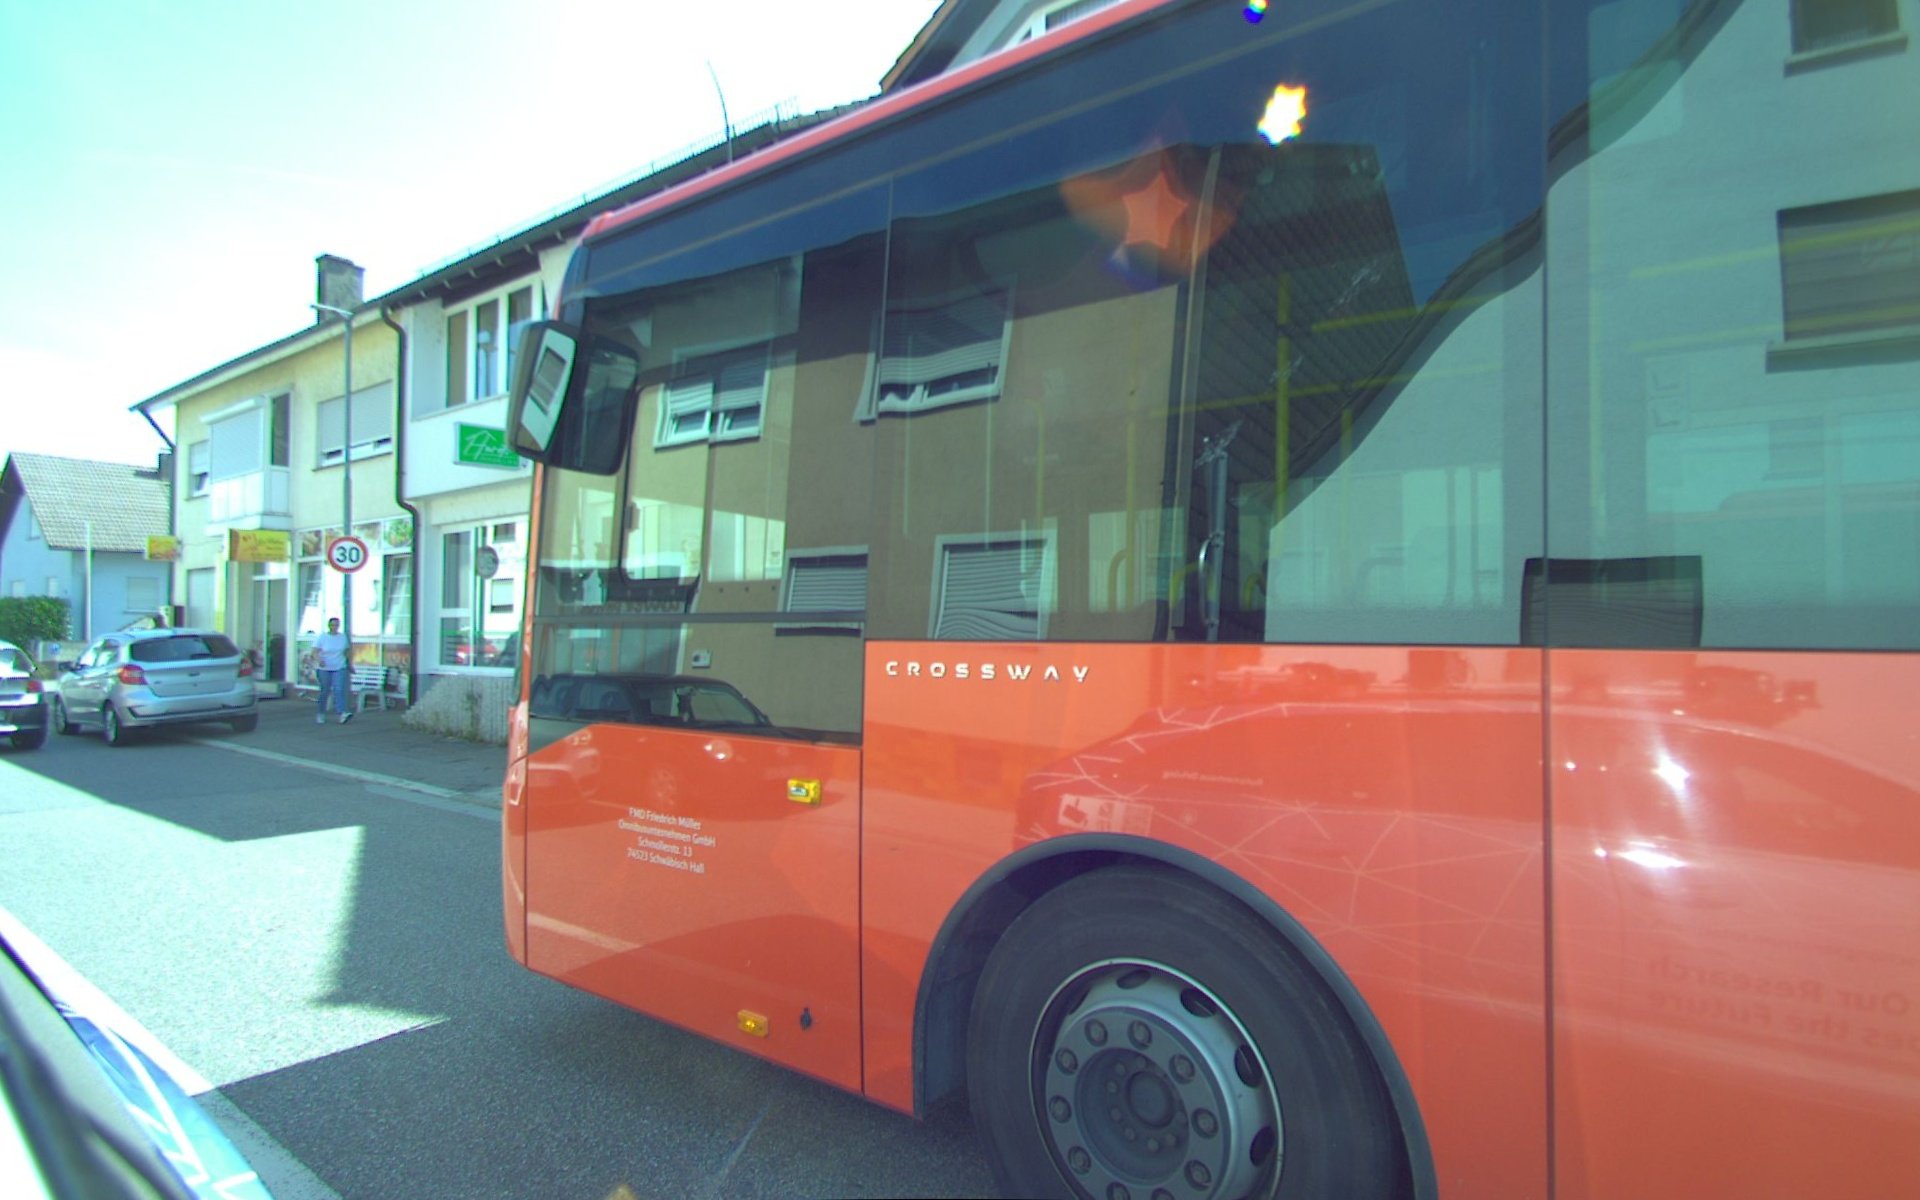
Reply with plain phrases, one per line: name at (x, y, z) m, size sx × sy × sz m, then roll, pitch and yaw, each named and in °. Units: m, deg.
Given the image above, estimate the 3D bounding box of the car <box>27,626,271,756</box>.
car at (-11.832, 1.202, 14.705) m, size 3.992 × 1.527 × 1.729 m, roll -1°, pitch 2°, yaw 36°

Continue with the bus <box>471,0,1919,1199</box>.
bus at (3.984, -0.152, 0.932) m, size 12.000 × 3.257 × 2.603 m, roll -1°, pitch -4°, yaw 37°

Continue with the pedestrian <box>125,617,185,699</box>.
pedestrian at (-16.275, 1.153, 20.456) m, size 0.955 × 1.595 × 0.748 m, roll -1°, pitch 0°, yaw 39°

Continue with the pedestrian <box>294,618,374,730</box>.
pedestrian at (-9.398, 1.082, 15.192) m, size 0.955 × 1.595 × 0.748 m, roll -1°, pitch 0°, yaw 39°

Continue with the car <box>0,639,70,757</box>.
car at (-13.266, 1.189, 12.845) m, size 3.853 × 1.408 × 1.748 m, roll -1°, pitch -4°, yaw 30°
